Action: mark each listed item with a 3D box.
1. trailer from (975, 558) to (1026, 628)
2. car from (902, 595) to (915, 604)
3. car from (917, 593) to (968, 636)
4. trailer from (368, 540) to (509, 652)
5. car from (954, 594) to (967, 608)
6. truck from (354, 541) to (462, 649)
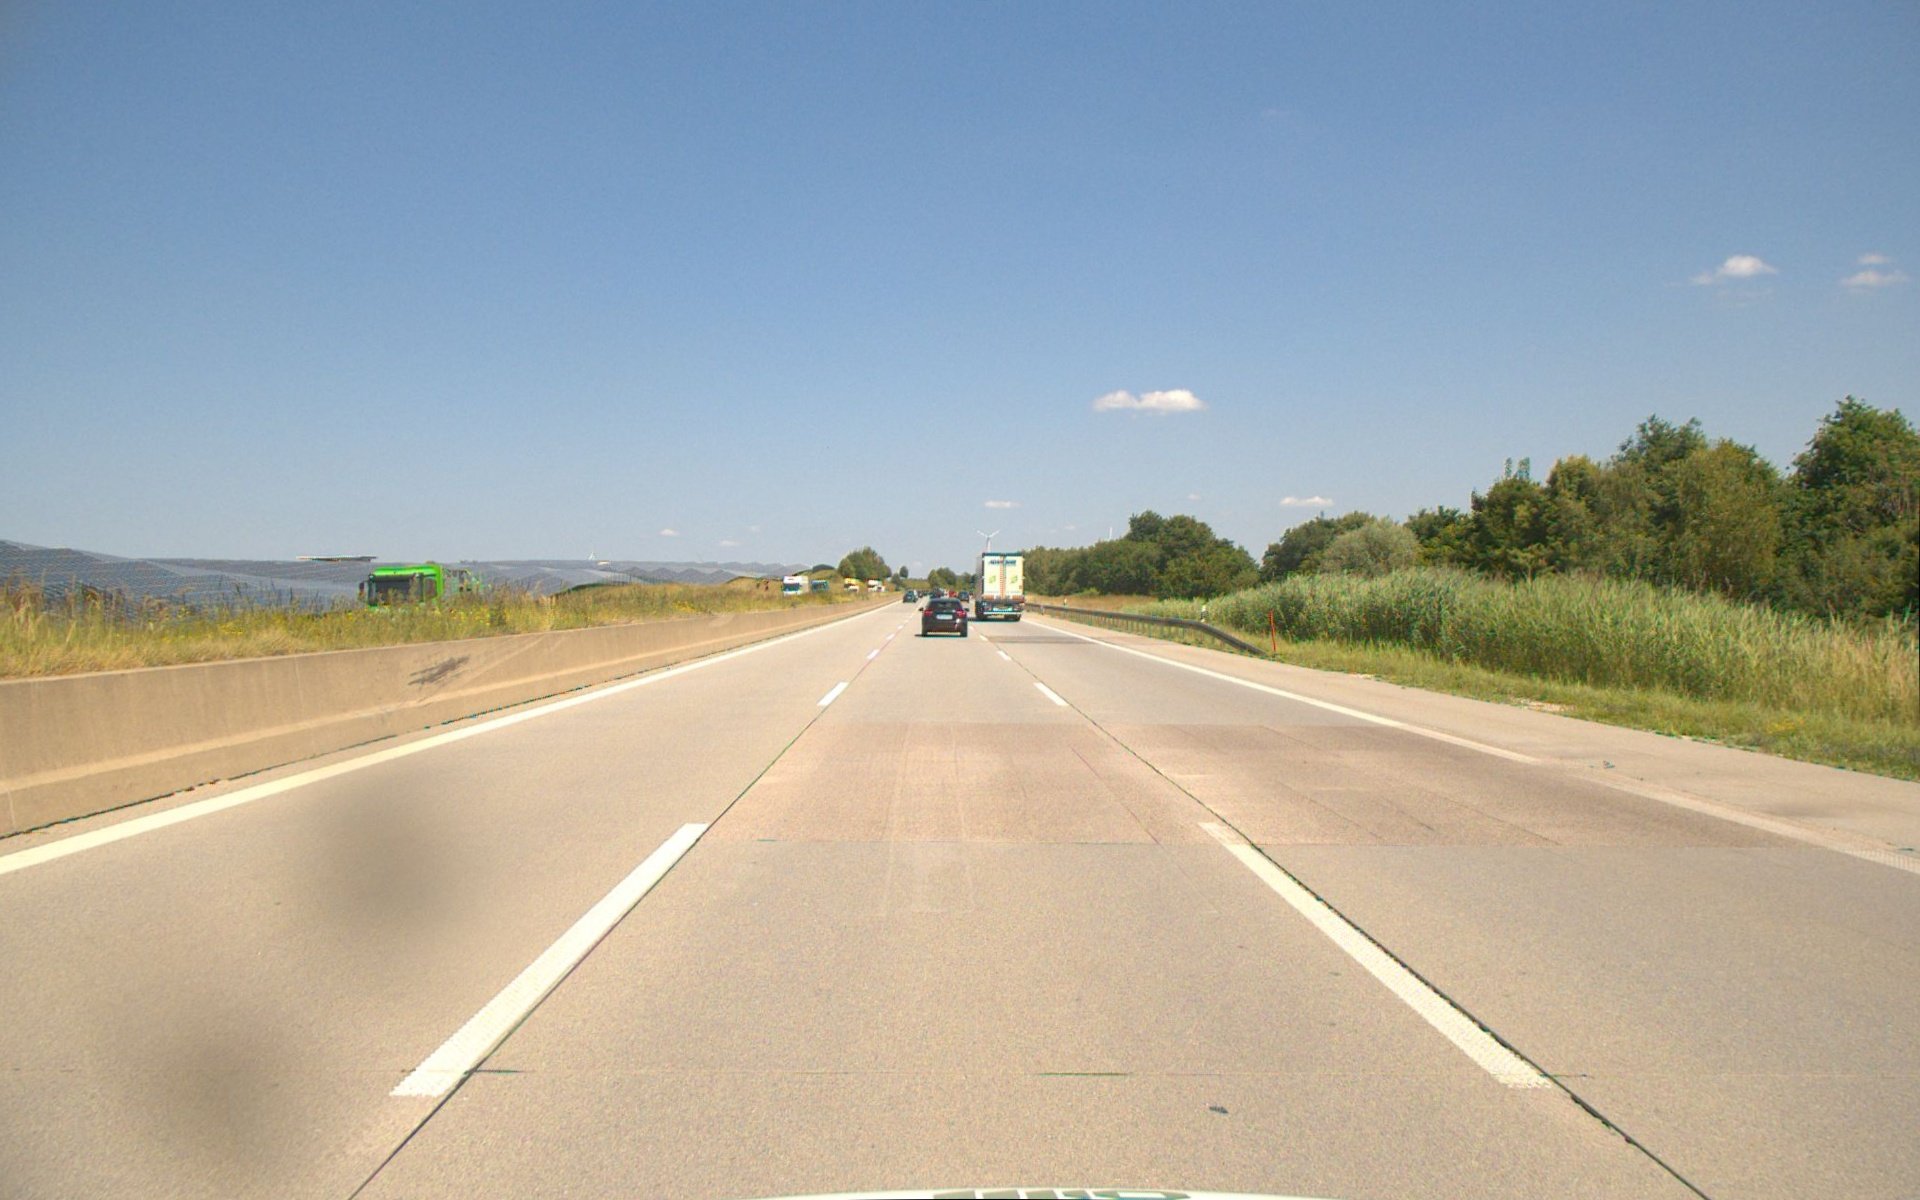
[{"bbox_3d":[2.448,-0.435,104.419,2.794,4.113,12.711,1,0,0],"label":"trailer"},{"bbox_3d":[-7.106,-0.070,226.680,1.622,1.217,3.959,3,0,-1],"label":"car"},{"bbox_3d":[-0.700,0.538,63.513,1.872,1.518,4.190,2,0,-1],"label":"car"},{"bbox_3d":[-21.377,-0.162,68.542,2.677,4.264,10.255,0,0,-1],"label":"trailer"},{"bbox_3d":[0.037,0.106,239.393,1.789,1.940,4.000,1,0,1],"label":"car"},{"bbox_3d":[-21.337,-0.185,64.108,2.689,4.020,4.352,1,0,-1],"label":"truck"}]
